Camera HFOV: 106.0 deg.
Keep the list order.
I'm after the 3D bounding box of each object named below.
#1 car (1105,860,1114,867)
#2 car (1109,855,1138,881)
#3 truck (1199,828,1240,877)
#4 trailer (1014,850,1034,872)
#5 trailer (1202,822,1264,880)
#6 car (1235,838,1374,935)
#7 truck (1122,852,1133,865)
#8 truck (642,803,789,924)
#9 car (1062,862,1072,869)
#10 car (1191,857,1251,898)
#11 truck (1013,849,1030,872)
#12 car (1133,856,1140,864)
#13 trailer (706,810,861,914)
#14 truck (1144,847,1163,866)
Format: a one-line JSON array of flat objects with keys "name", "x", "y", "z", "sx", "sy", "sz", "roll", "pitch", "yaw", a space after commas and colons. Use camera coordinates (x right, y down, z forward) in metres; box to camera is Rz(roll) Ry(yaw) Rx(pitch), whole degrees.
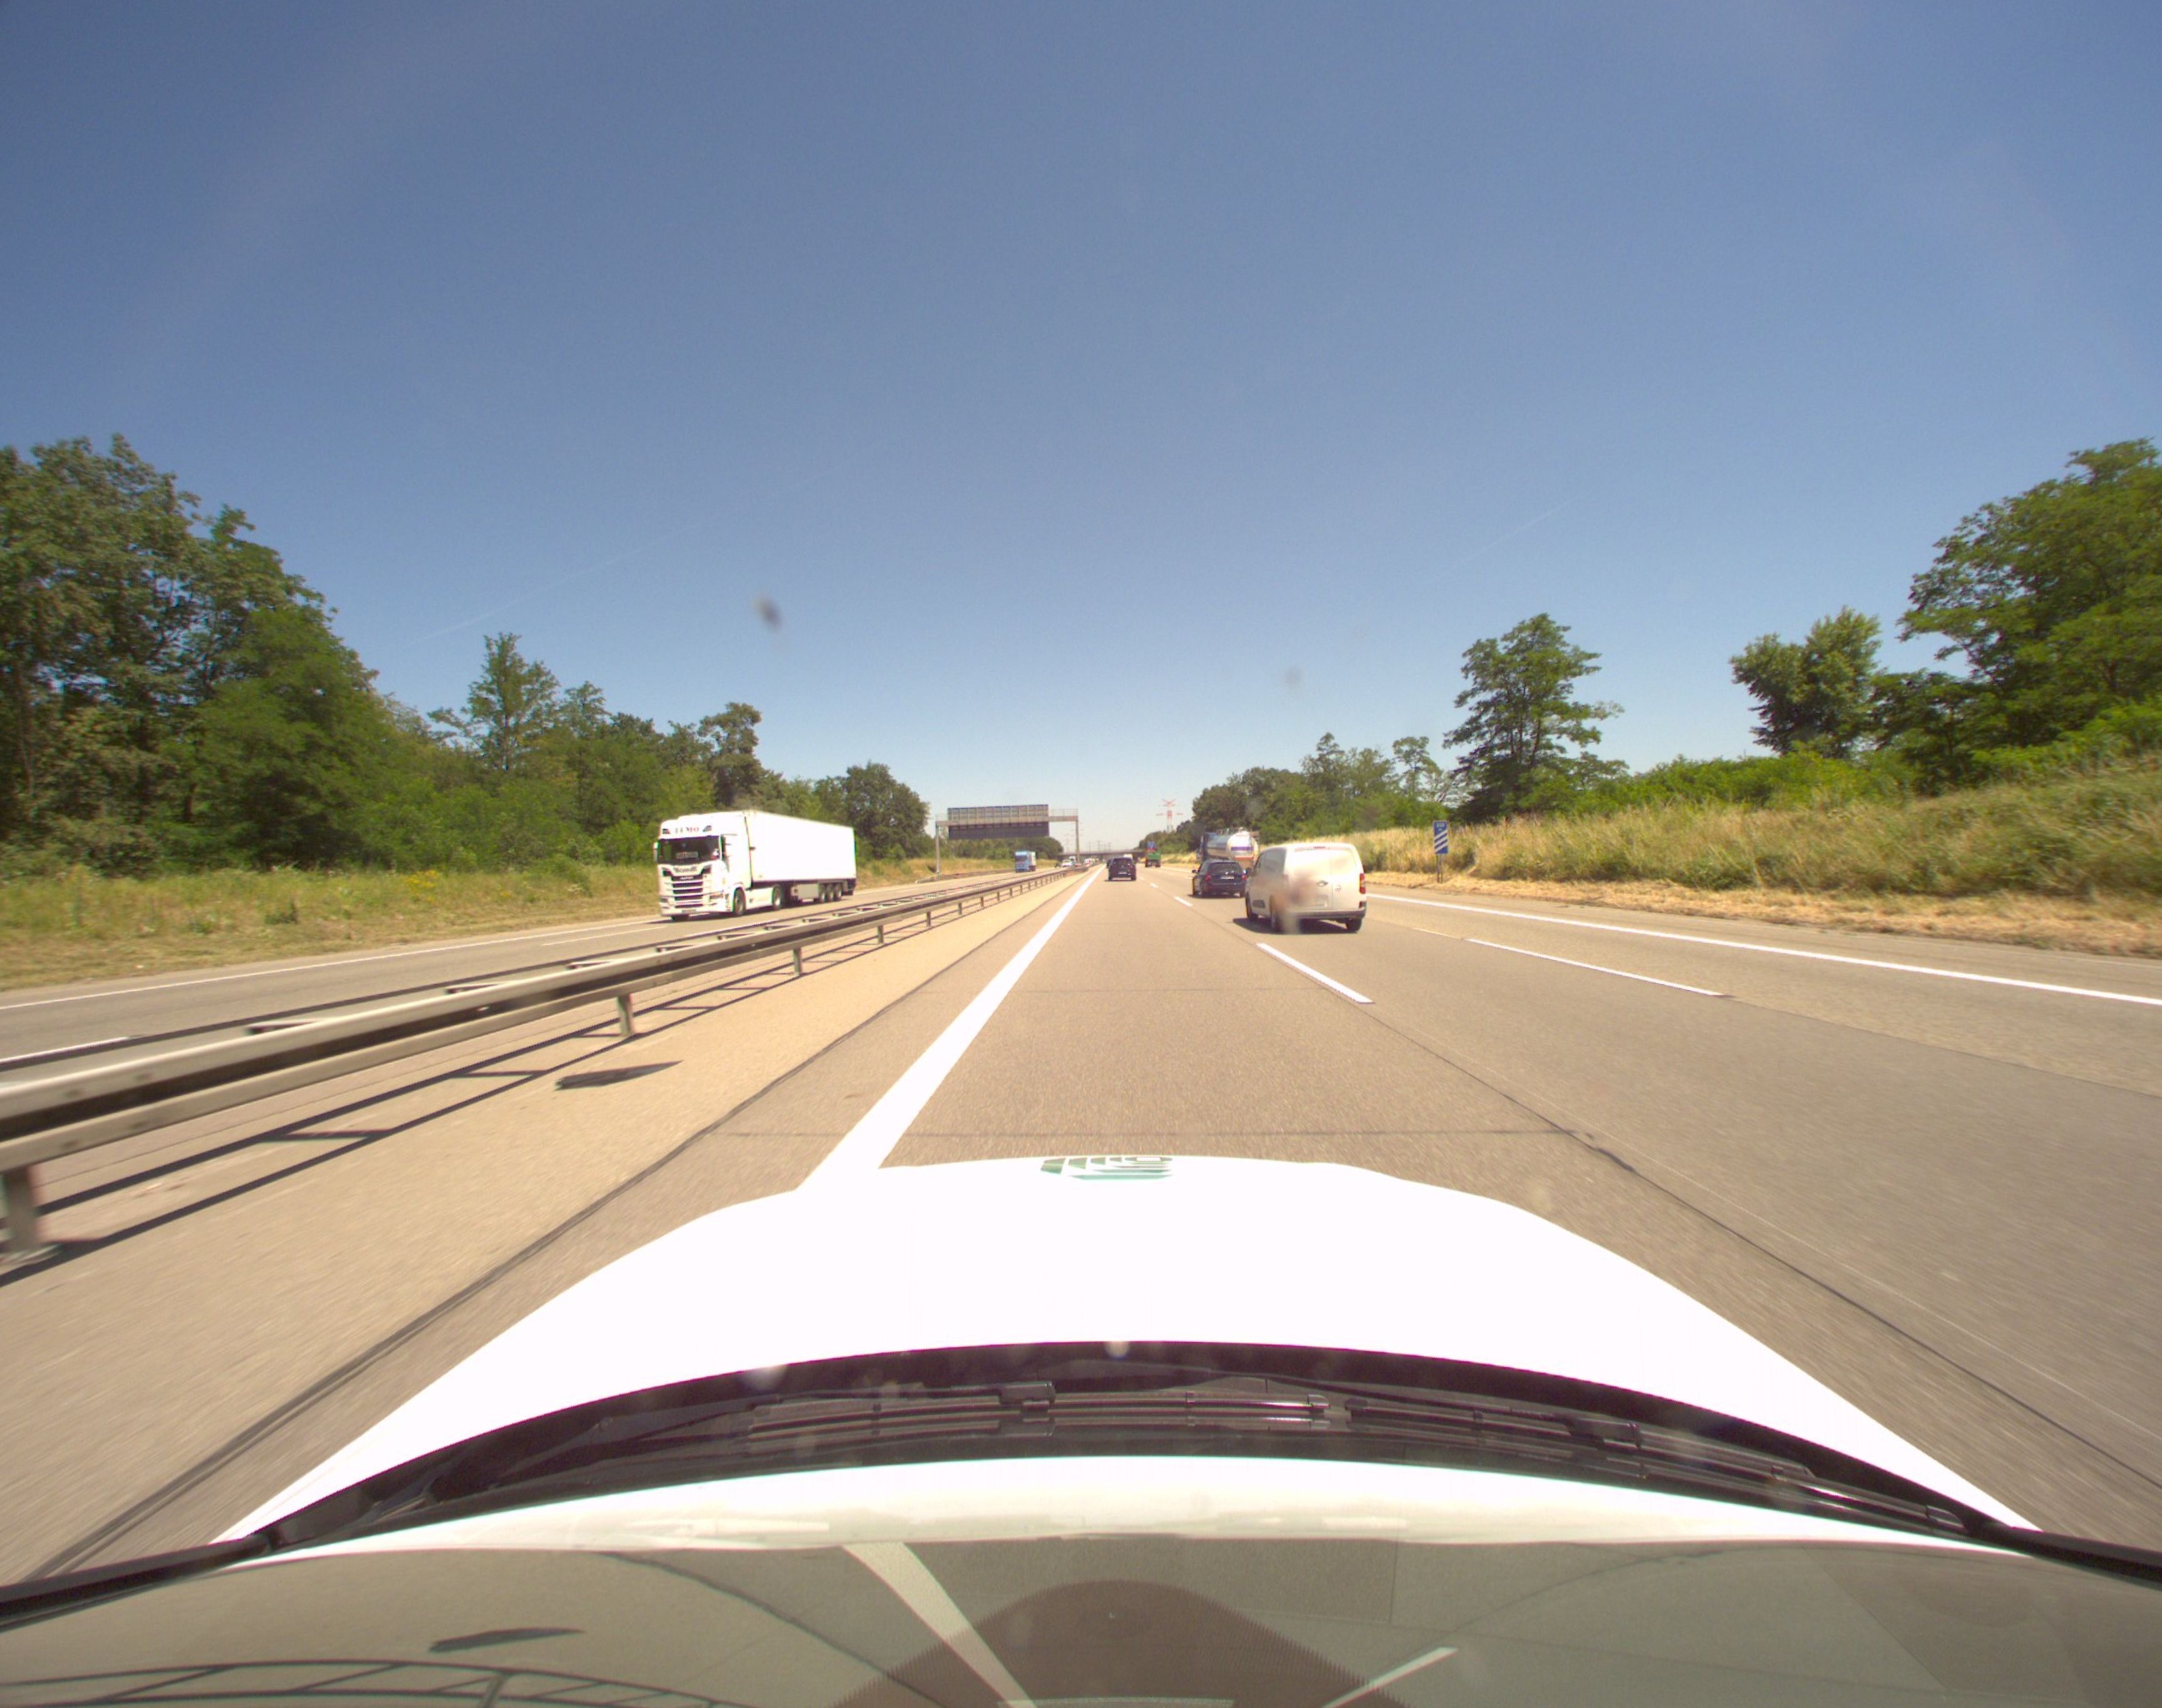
[{"name": "car", "x": 5.148, "y": 1.653, "z": 147.286, "sx": 1.518, "sy": 1.252, "sz": 3.626, "roll": -1, "pitch": 0, "yaw": 1}, {"name": "car", "x": 3.053, "y": 0.998, "z": 59.701, "sx": 1.933, "sy": 1.752, "sz": 5.814, "roll": -1, "pitch": 0, "yaw": 1}, {"name": "truck", "x": 11.213, "y": -0.128, "z": 66.296, "sx": 2.673, "sy": 3.837, "sz": 4.445, "roll": 0, "pitch": -1, "yaw": 1}, {"name": "trailer", "x": -11.337, "y": 1.343, "z": 162.753, "sx": 2.692, "sy": 4.186, "sz": 10.769, "roll": -4, "pitch": 0, "yaw": 1}, {"name": "trailer", "x": 11.069, "y": -0.168, "z": 60.511, "sx": 2.673, "sy": 3.837, "sz": 12.013, "roll": 0, "pitch": 0, "yaw": 2}, {"name": "car", "x": 4.803, "y": 0.641, "z": 18.281, "sx": 1.808, "sy": 1.827, "sz": 5.112, "roll": -1, "pitch": 0, "yaw": 1}, {"name": "truck", "x": 10.464, "y": 0.974, "z": 183.395, "sx": 2.053, "sy": 2.914, "sz": 7.005, "roll": -1, "pitch": 0, "yaw": 1}, {"name": "truck", "x": -14.276, "y": 0.359, "z": 32.381, "sx": 2.692, "sy": 4.186, "sz": 6.190, "roll": -4, "pitch": 0, "yaw": 1}, {"name": "car", "x": -2.994, "y": 2.427, "z": 178.026, "sx": 1.920, "sy": 1.348, "sz": 3.566, "roll": -4, "pitch": 0, "yaw": 1}, {"name": "car", "x": 5.465, "y": 0.895, "z": 32.221, "sx": 1.768, "sy": 1.472, "sz": 3.873, "roll": -1, "pitch": 0, "yaw": 1}, {"name": "truck", "x": -11.458, "y": 1.317, "z": 157.175, "sx": 2.692, "sy": 4.186, "sz": 4.724, "roll": -4, "pitch": 0, "yaw": 1}, {"name": "car", "x": 13.961, "y": 1.505, "z": 204.101, "sx": 1.518, "sy": 1.804, "sz": 3.626, "roll": -1, "pitch": -1, "yaw": 1}, {"name": "trailer", "x": -14.093, "y": 0.359, "z": 40.113, "sx": 2.692, "sy": 4.186, "sz": 12.066, "roll": -4, "pitch": 0, "yaw": 1}, {"name": "truck", "x": 14.307, "y": 0.473, "z": 161.328, "sx": 2.978, "sy": 3.728, "sz": 10.092, "roll": 0, "pitch": 0, "yaw": 2}]
